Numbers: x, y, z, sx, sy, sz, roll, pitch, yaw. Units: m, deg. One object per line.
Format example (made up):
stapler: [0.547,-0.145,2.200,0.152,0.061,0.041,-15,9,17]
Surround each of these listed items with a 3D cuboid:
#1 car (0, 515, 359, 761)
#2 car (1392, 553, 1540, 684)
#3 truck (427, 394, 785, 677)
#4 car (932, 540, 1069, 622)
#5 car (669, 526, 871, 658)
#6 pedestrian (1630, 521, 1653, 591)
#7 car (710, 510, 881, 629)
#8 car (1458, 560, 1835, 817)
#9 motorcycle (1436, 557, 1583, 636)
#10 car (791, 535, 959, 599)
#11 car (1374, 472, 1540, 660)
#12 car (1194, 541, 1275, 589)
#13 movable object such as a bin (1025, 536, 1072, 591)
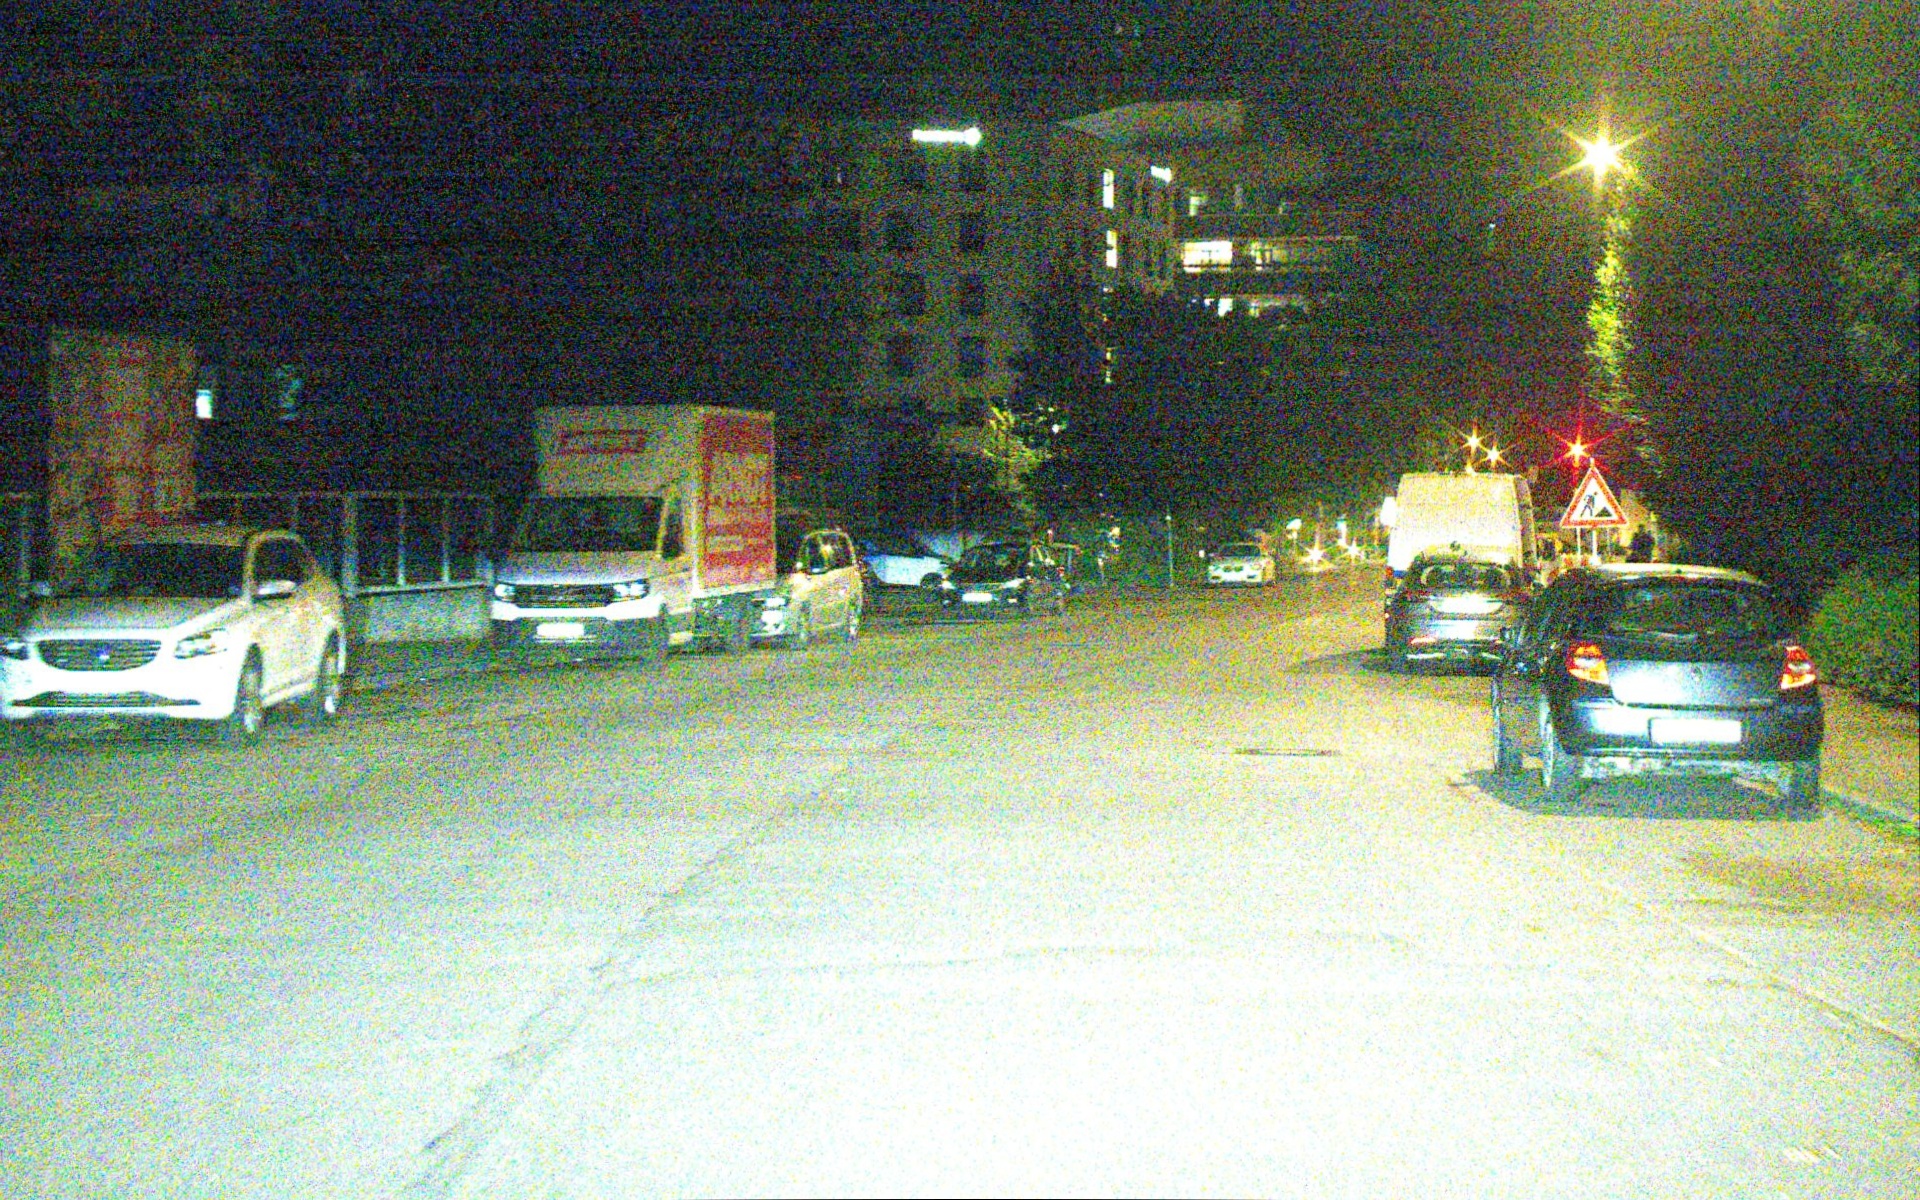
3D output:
car: [-6.201,0.230,27.078,1.993,1.766,4.692,0,1,2]
car: [6.202,0.187,42.380,1.711,1.503,4.639,0,1,8]
truck: [-4.306,-0.812,43.542,2.544,3.269,7.309,0,1,10]
car: [0.837,-0.365,67.928,1.756,1.521,4.319,1,0,14]
car: [-2.697,-0.148,49.981,1.830,1.810,4.836,-1,1,10]
pedestrian: [17.903,-1.159,90.367,0.570,1.846,0.819,0,1,13]
car: [-3.353,-0.655,71.151,1.995,2.313,4.963,-2,1,16]
car: [4.432,0.510,22.739,1.710,1.503,4.000,1,1,1]
motorcycle: [8.577,-0.063,53.711,2.184,1.179,0.766,2,2,43]
car: [-2.180,-0.868,88.821,3.989,1.565,1.816,-1,1,12]
car: [7.223,-0.525,49.507,2.021,2.518,6.049,1,1,11]
car: [8.570,-1.105,107.004,1.912,1.399,4.335,0,1,13]
movable object such as a bin: [2.439,-1.003,94.528,1.164,1.490,1.065,0,1,9]
